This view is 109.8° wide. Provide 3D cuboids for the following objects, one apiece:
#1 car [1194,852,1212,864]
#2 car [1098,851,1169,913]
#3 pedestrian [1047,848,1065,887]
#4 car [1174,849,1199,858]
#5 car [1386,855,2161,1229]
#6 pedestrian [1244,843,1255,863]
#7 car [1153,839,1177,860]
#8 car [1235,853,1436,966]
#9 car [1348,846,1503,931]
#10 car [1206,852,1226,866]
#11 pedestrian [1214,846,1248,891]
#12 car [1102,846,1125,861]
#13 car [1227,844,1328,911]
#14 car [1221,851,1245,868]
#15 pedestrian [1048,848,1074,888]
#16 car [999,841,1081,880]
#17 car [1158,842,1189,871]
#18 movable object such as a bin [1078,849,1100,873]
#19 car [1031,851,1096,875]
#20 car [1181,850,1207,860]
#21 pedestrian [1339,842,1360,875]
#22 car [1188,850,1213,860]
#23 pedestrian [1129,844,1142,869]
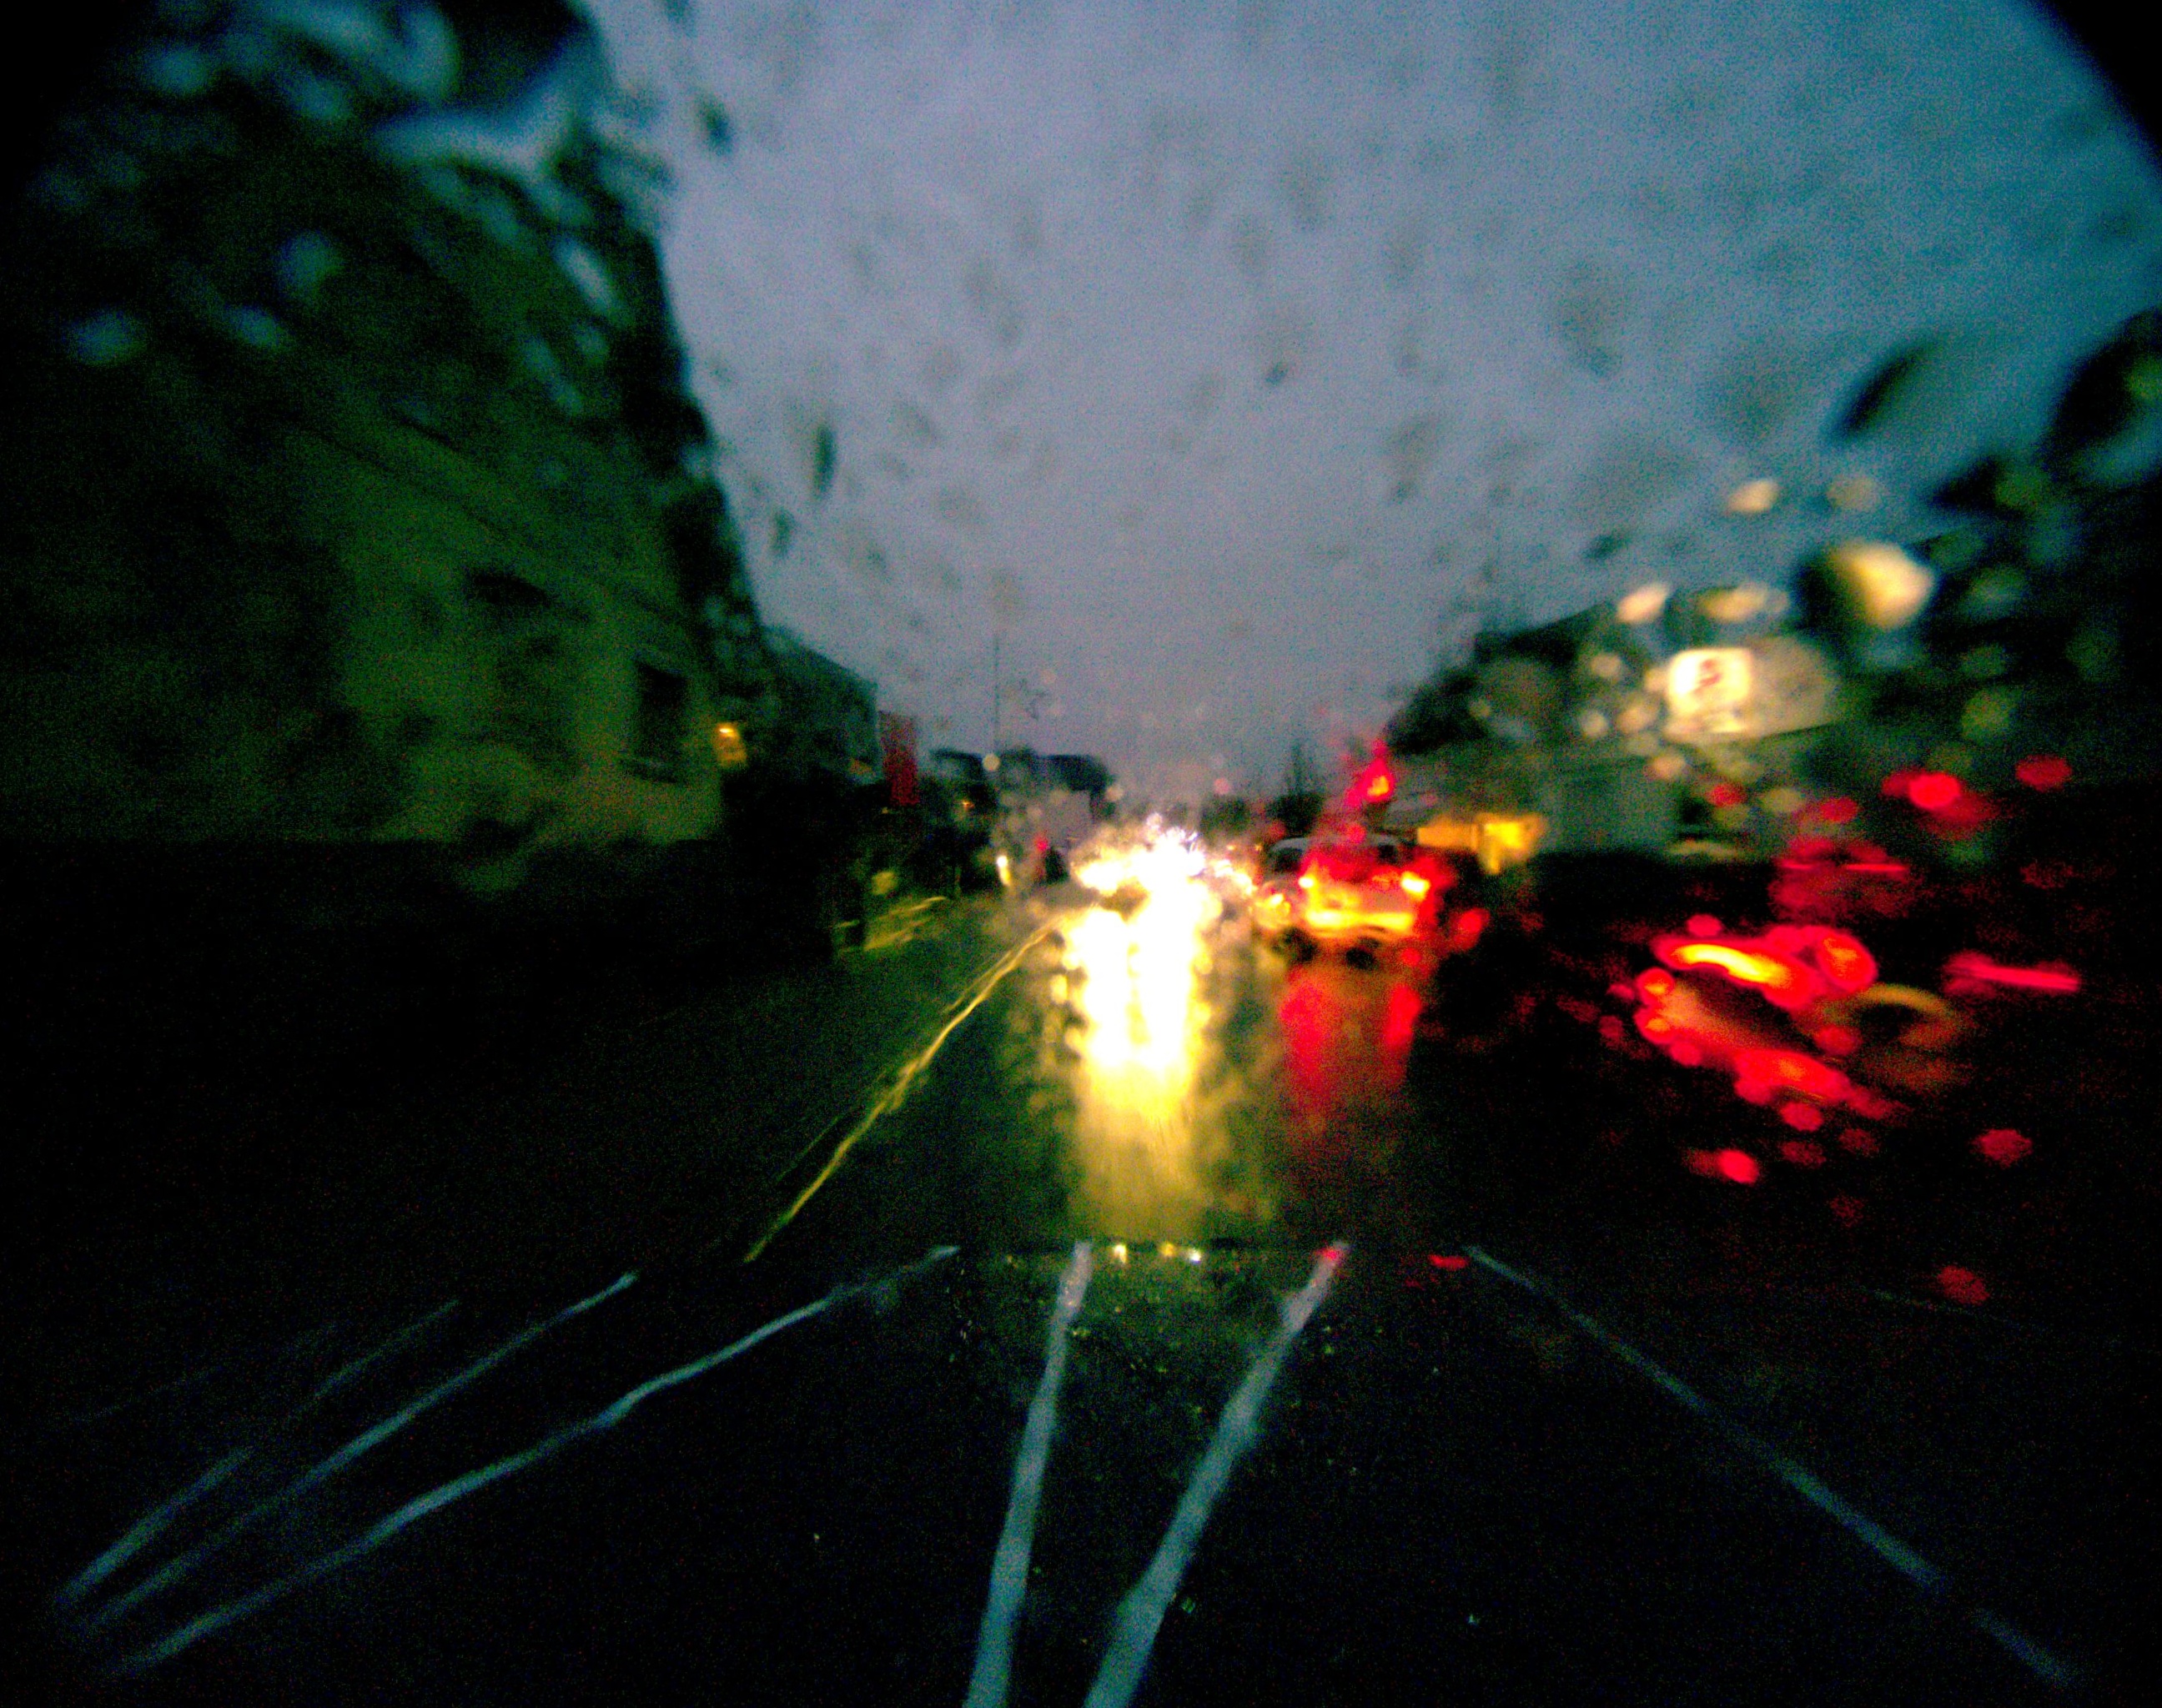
[{"bbox_3d":[15.661,0.497,97.625,1.839,1.526,4.140,-2,0,4],"label":"car"},{"bbox_3d":[1.647,0.810,23.903,1.998,1.720,4.001,-2,1,4],"label":"car"},{"bbox_3d":[-1.097,0.592,33.633,0.705,1.695,0.915,1,1,1],"label":"pedestrian"},{"bbox_3d":[17.772,-0.079,128.088,3.994,1.291,2.001,-2,1,9],"label":"car"},{"bbox_3d":[3.974,0.846,5.532,1.862,1.547,4.257,2,1,2],"label":"car"},{"bbox_3d":[17.224,-0.124,77.725,0.902,2.002,0.790,2,1,3],"label":"pedestrian"},{"bbox_3d":[8.041,-0.430,72.731,1.998,1.844,4.000,-2,1,2],"label":"car"},{"bbox_3d":[3.994,0.857,12.790,1.956,1.537,4.417,1,-2,1],"label":"car"},{"bbox_3d":[7.886,0.696,17.946,1.884,1.700,4.714,-2,0,6],"label":"car"},{"bbox_3d":[14.998,0.520,84.682,1.698,1.423,4.378,-2,0,4],"label":"car"},{"bbox_3d":[6.400,0.601,32.388,0.944,1.865,1.010,-1,1,-32],"label":"pedestrian"},{"bbox_3d":[3.736,-0.095,87.134,1.933,1.477,4.699,-3,1,10],"label":"car"},{"bbox_3d":[5.670,0.672,22.614,1.998,1.695,4.969,-3,-1,4],"label":"car"},{"bbox_3d":[14.613,0.532,73.184,1.788,1.480,4.183,-2,1,4],"label":"car"},{"bbox_3d":[-0.851,0.589,32.787,0.837,1.695,0.846,1,1,18],"label":"pedestrian"},{"bbox_3d":[-2.258,0.346,42.332,4.096,2.038,2.002,2,1,14],"label":"car"},{"bbox_3d":[6.944,0.162,57.219,1.998,2.002,4.000,-2,1,2],"label":"car"},{"bbox_3d":[0.568,0.477,52.665,1.396,1.634,1.262,2,1,4],"label":"movable object such as a bin"},{"bbox_3d":[-1.152,0.571,50.327,3.994,1.478,1.913,0,2,9],"label":"car"},{"bbox_3d":[18.625,0.154,125.068,3.993,1.538,2.002,-1,1,14],"label":"car"},{"bbox_3d":[13.508,0.221,38.231,0.827,1.649,1.098,-2,1,15],"label":"pedestrian"},{"bbox_3d":[19.214,0.113,122.393,3.838,1.537,2.002,-2,1,11],"label":"car"},{"bbox_3d":[4.224,0.213,58.859,0.968,1.878,1.006,-2,1,4],"label":"pedestrian"}]
